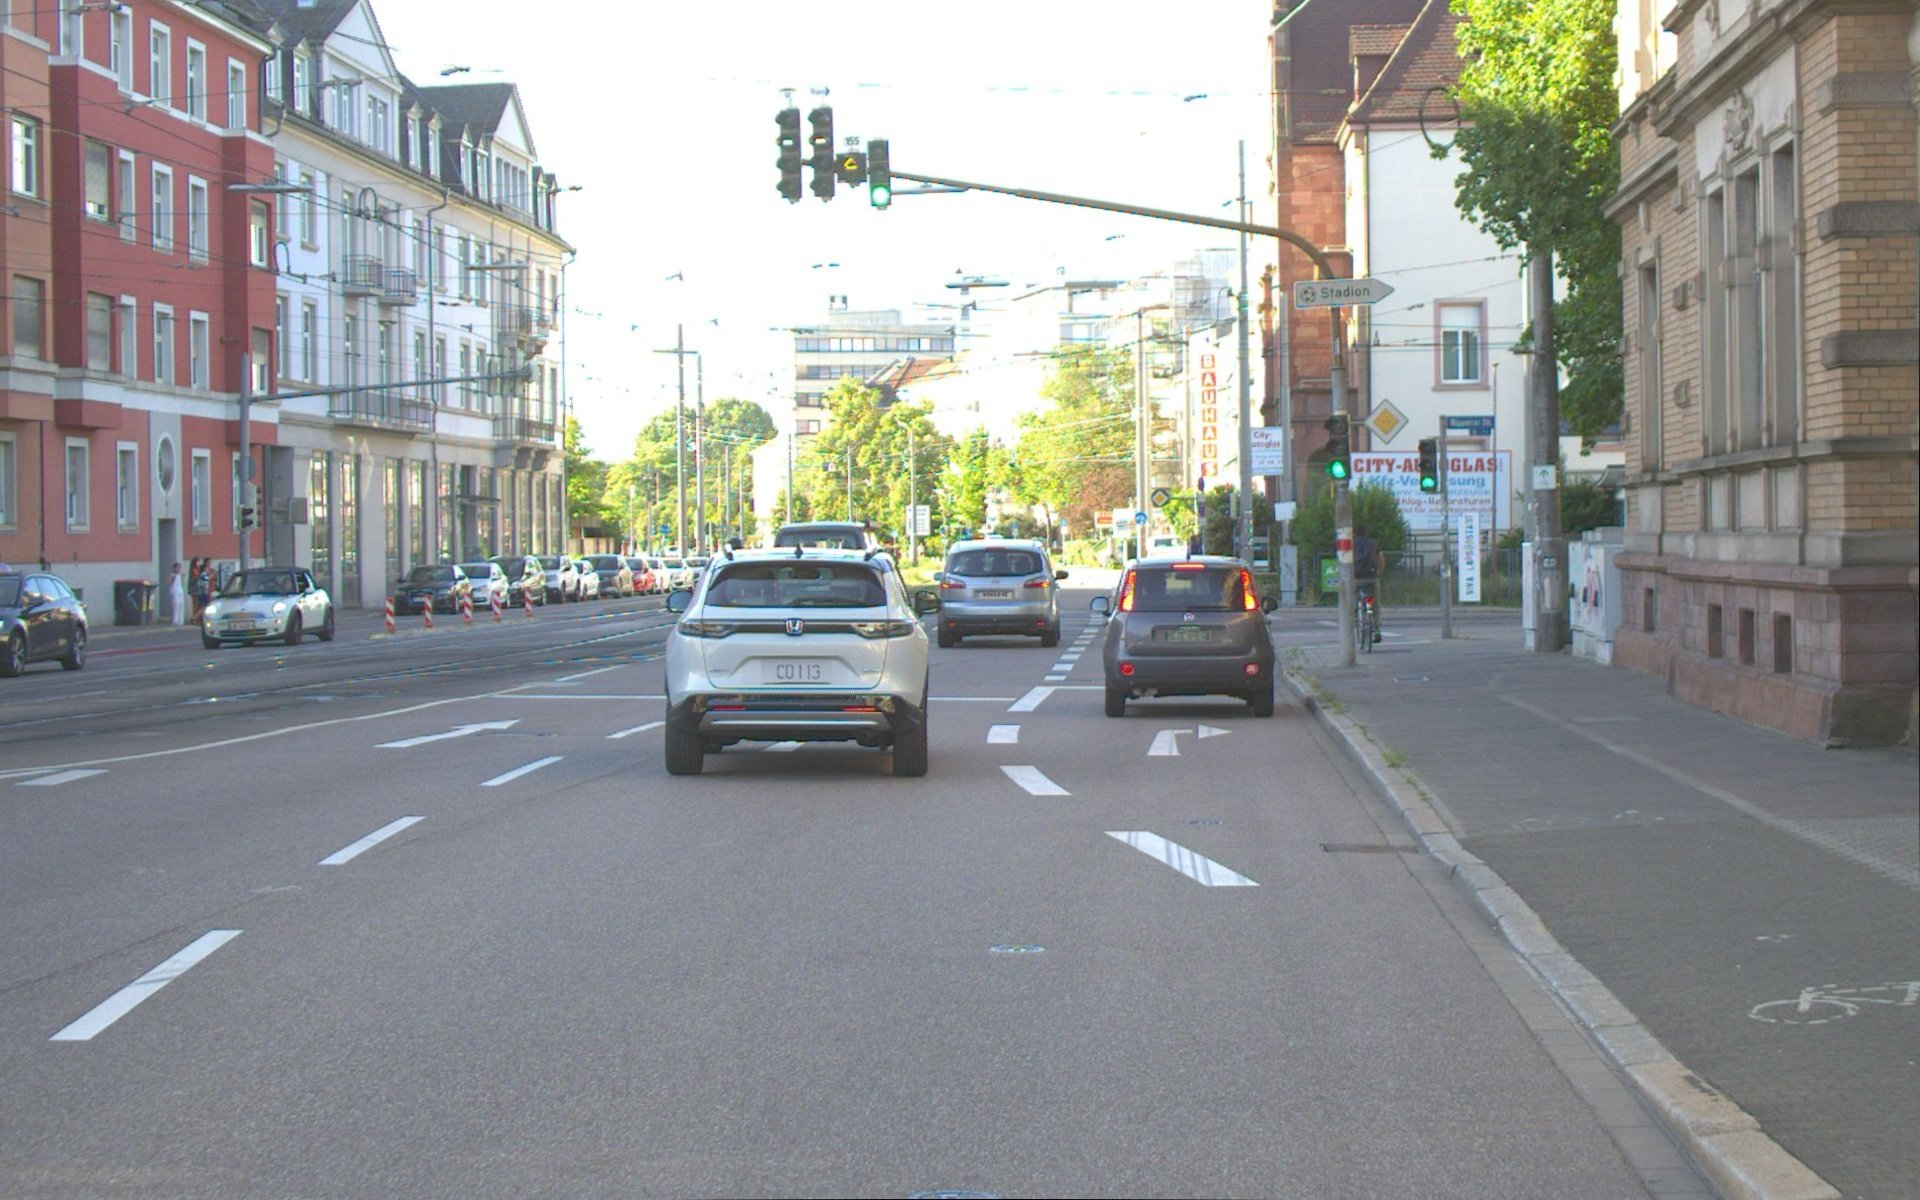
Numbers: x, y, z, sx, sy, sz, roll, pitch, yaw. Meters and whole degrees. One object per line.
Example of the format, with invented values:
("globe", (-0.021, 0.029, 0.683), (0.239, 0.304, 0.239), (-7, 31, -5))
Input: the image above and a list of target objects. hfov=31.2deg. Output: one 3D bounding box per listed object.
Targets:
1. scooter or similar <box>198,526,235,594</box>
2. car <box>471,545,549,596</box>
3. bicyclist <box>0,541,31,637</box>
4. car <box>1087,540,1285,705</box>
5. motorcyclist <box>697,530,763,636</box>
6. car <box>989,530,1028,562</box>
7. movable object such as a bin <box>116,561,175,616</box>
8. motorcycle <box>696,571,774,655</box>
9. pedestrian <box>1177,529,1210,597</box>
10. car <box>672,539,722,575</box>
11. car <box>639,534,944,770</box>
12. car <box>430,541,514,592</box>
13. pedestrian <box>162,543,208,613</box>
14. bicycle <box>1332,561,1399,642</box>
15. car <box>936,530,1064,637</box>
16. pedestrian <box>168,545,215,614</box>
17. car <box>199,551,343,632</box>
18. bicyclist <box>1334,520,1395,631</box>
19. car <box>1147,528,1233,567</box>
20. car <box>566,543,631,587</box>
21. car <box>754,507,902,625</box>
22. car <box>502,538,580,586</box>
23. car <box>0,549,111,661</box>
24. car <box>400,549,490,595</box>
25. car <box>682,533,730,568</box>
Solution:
("scooter or similar", (-17.961, -0.963, 83.042), (0.652, 1.627, 0.795), (-1, 1, -28))
("car", (-14.201, -0.940, 108.758), (1.719, 1.546, 3.856), (-1, 1, 4))
("bicyclist", (-16.684, -0.194, 59.642), (0.746, 1.637, 1.126), (-1, 1, 4))
("car", (2.274, 0.175, 33.770), (1.731, 1.495, 3.999), (0, 1, 7))
("motorcyclist", (-3.116, -0.236, 46.684), (0.777, 1.418, 0.891), (0, 1, 4))
("car", (2.616, -2.886, 184.065), (1.994, 1.656, 4.497), (0, 1, 2))
("movable object such as a bin", (-18.631, -0.268, 78.624), (0.871, 1.245, 1.233), (-1, 1, 10))
("motorcycle", (-3.046, 0.166, 46.742), (0.777, 1.078, 2.281), (0, 1, 3))
("pedestrian", (6.315, -1.012, 93.004), (0.875, 1.818, 1.184), (0, 1, 5))
("car", (-11.883, -1.947, 155.514), (1.719, 1.546, 4.000), (-1, 1, 4))
("car", (-1.110, 0.299, 24.485), (1.947, 1.523, 4.090), (0, 1, 0))
("car", (-14.710, -1.023, 103.827), (1.719, 1.447, 4.000), (-1, 1, 4))
("pedestrian", (-18.140, -0.524, 80.449), (0.794, 1.627, 0.654), (0, 1, 22))
("bicycle", (5.620, 0.006, 47.666), (0.771, 1.082, 1.871), (0, 1, 2))
("car", (0.662, -0.284, 53.405), (1.814, 1.576, 4.000), (-1, 1, 3))
("pedestrian", (-18.215, -0.484, 81.512), (0.829, 1.627, 0.795), (-1, 1, -34))
("car", (-12.364, -0.181, 61.886), (1.726, 1.370, 3.534), (-1, 1, 2))
("bicyclist", (5.623, -0.346, 47.762), (0.834, 1.520, 0.993), (0, 1, 7))
("car", (12.207, -2.785, 182.620), (4.257, 2.007, 2.000), (0, 1, -5))
("car", (-13.199, -1.303, 125.713), (1.719, 1.546, 4.000), (-1, 1, 4))
("car", (-2.308, -0.622, 61.530), (2.172, 2.002, 4.808), (-1, 1, 3))
("car", (-14.058, -1.283, 115.533), (1.835, 1.546, 4.274), (-1, 1, 4))
("car", (-13.404, 0.042, 47.659), (1.922, 1.450, 4.498), (0, 1, 3))
("car", (-14.686, -0.819, 98.232), (1.719, 1.228, 4.000), (-1, 1, 4))
("car", (-11.923, -2.335, 161.538), (1.719, 1.546, 4.000), (-1, 1, 4))
